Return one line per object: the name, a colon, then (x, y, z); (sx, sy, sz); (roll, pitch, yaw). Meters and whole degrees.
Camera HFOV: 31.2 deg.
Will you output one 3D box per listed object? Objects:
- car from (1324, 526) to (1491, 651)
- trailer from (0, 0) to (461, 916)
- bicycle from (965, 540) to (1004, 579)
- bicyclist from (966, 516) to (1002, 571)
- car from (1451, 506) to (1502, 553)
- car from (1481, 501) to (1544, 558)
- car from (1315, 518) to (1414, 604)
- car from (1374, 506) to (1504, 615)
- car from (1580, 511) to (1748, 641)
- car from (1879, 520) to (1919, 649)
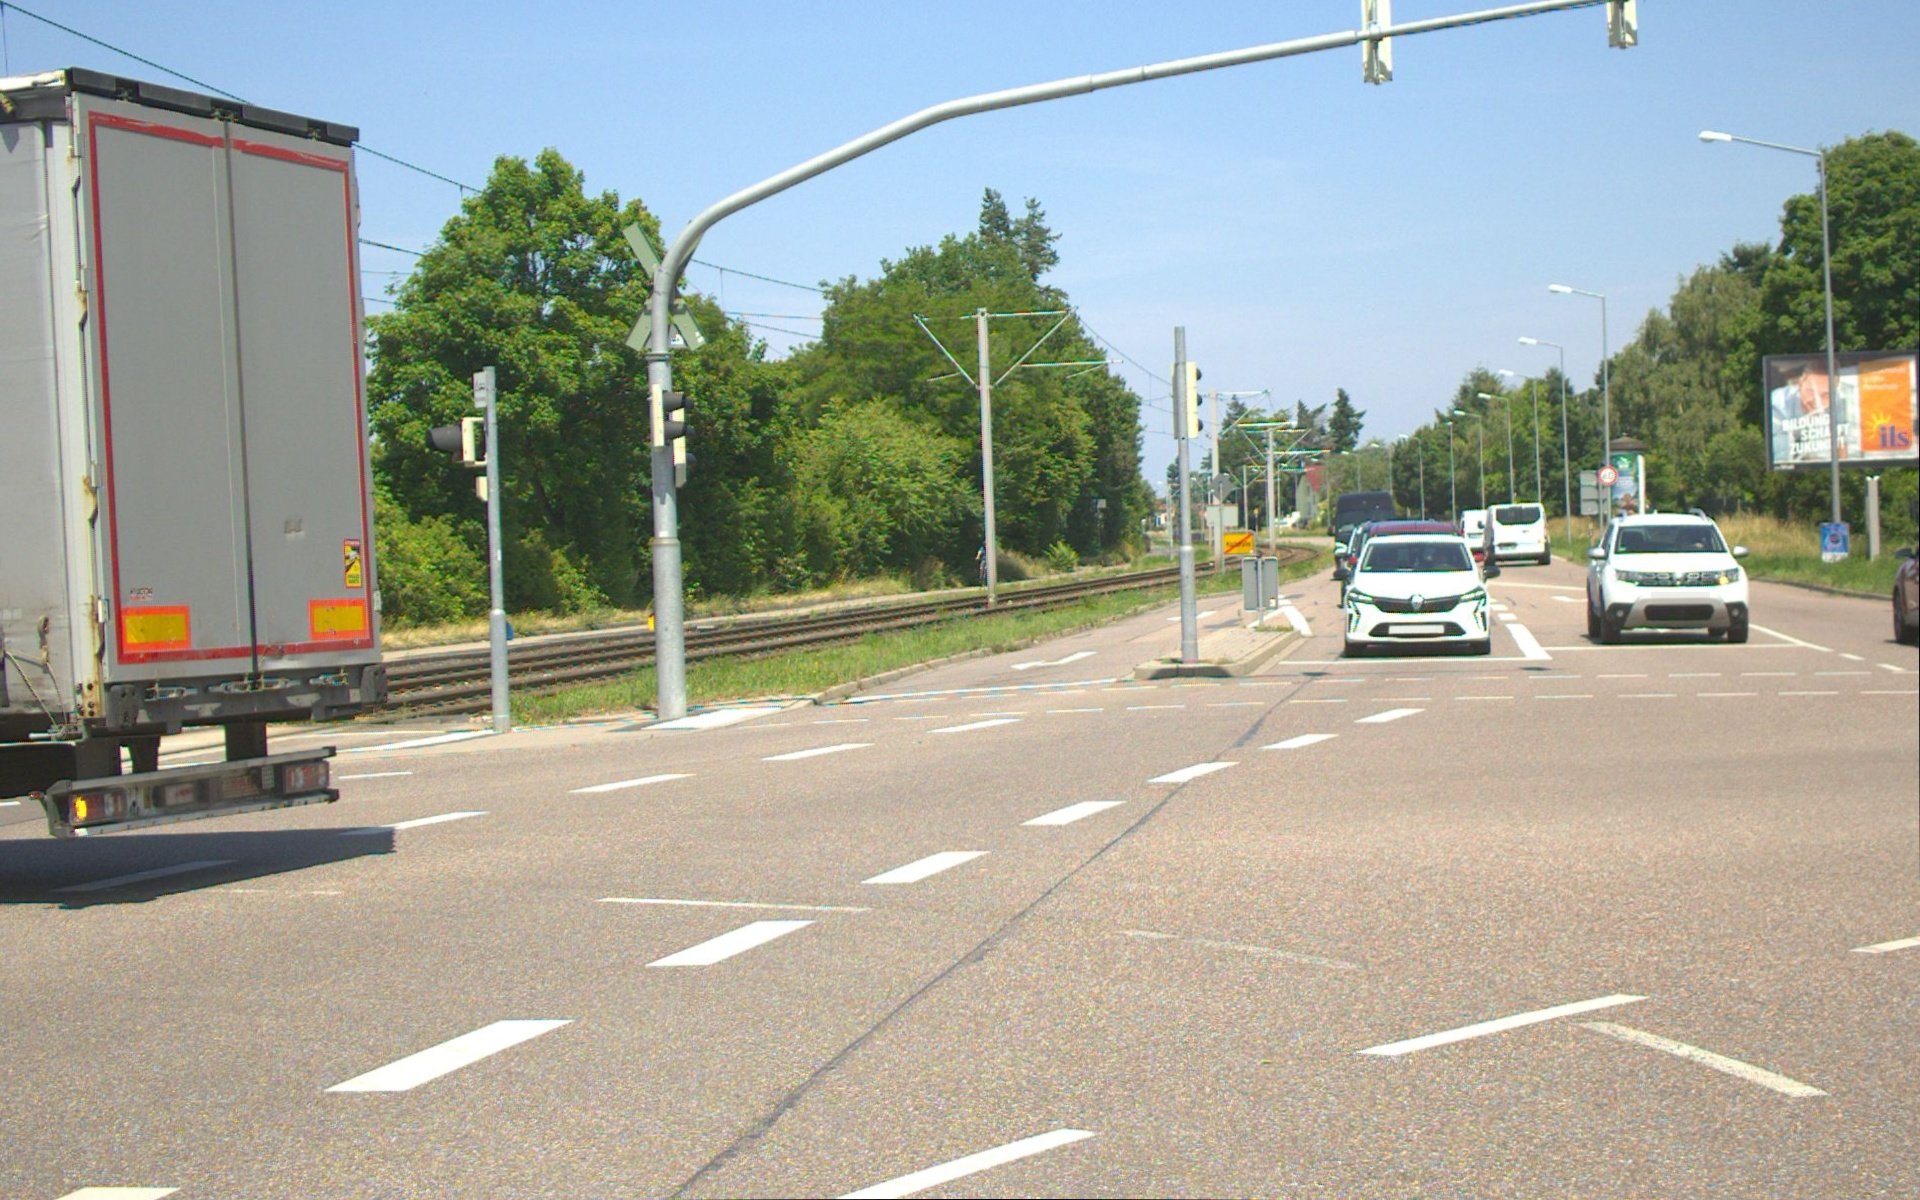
car: (5.481, -0.178, 41.777); (1.870, 1.384, 4.411); (-2, 1, 9)
trailer: (-7.769, -0.534, 18.116); (9.787, 4.056, 3.084); (-2, 1, 22)
bicycle: (0.961, -1.559, 131.938); (1.060, 1.341, 2.695); (-5, 1, 8)
bicyclist: (0.913, -2.172, 131.937); (1.071, 2.007, 1.185); (-4, 0, 8)
car: (19.995, -2.734, 133.116); (1.768, 1.749, 3.999); (1, 1, 6)
car: (17.598, -2.248, 109.611); (1.768, 1.749, 3.999); (1, 1, 6)
car: (7.733, -0.768, 65.492); (1.725, 1.570, 4.411); (-1, 1, 9)
car: (7.325, -0.630, 52.461); (1.870, 1.570, 4.411); (-1, 1, 9)
car: (8.996, -0.343, 44.191); (1.870, 1.570, 4.411); (-1, 1, 9)
car: (12.062, -0.232, 40.526); (1.843, 1.454, 4.411); (-2, 1, 9)
